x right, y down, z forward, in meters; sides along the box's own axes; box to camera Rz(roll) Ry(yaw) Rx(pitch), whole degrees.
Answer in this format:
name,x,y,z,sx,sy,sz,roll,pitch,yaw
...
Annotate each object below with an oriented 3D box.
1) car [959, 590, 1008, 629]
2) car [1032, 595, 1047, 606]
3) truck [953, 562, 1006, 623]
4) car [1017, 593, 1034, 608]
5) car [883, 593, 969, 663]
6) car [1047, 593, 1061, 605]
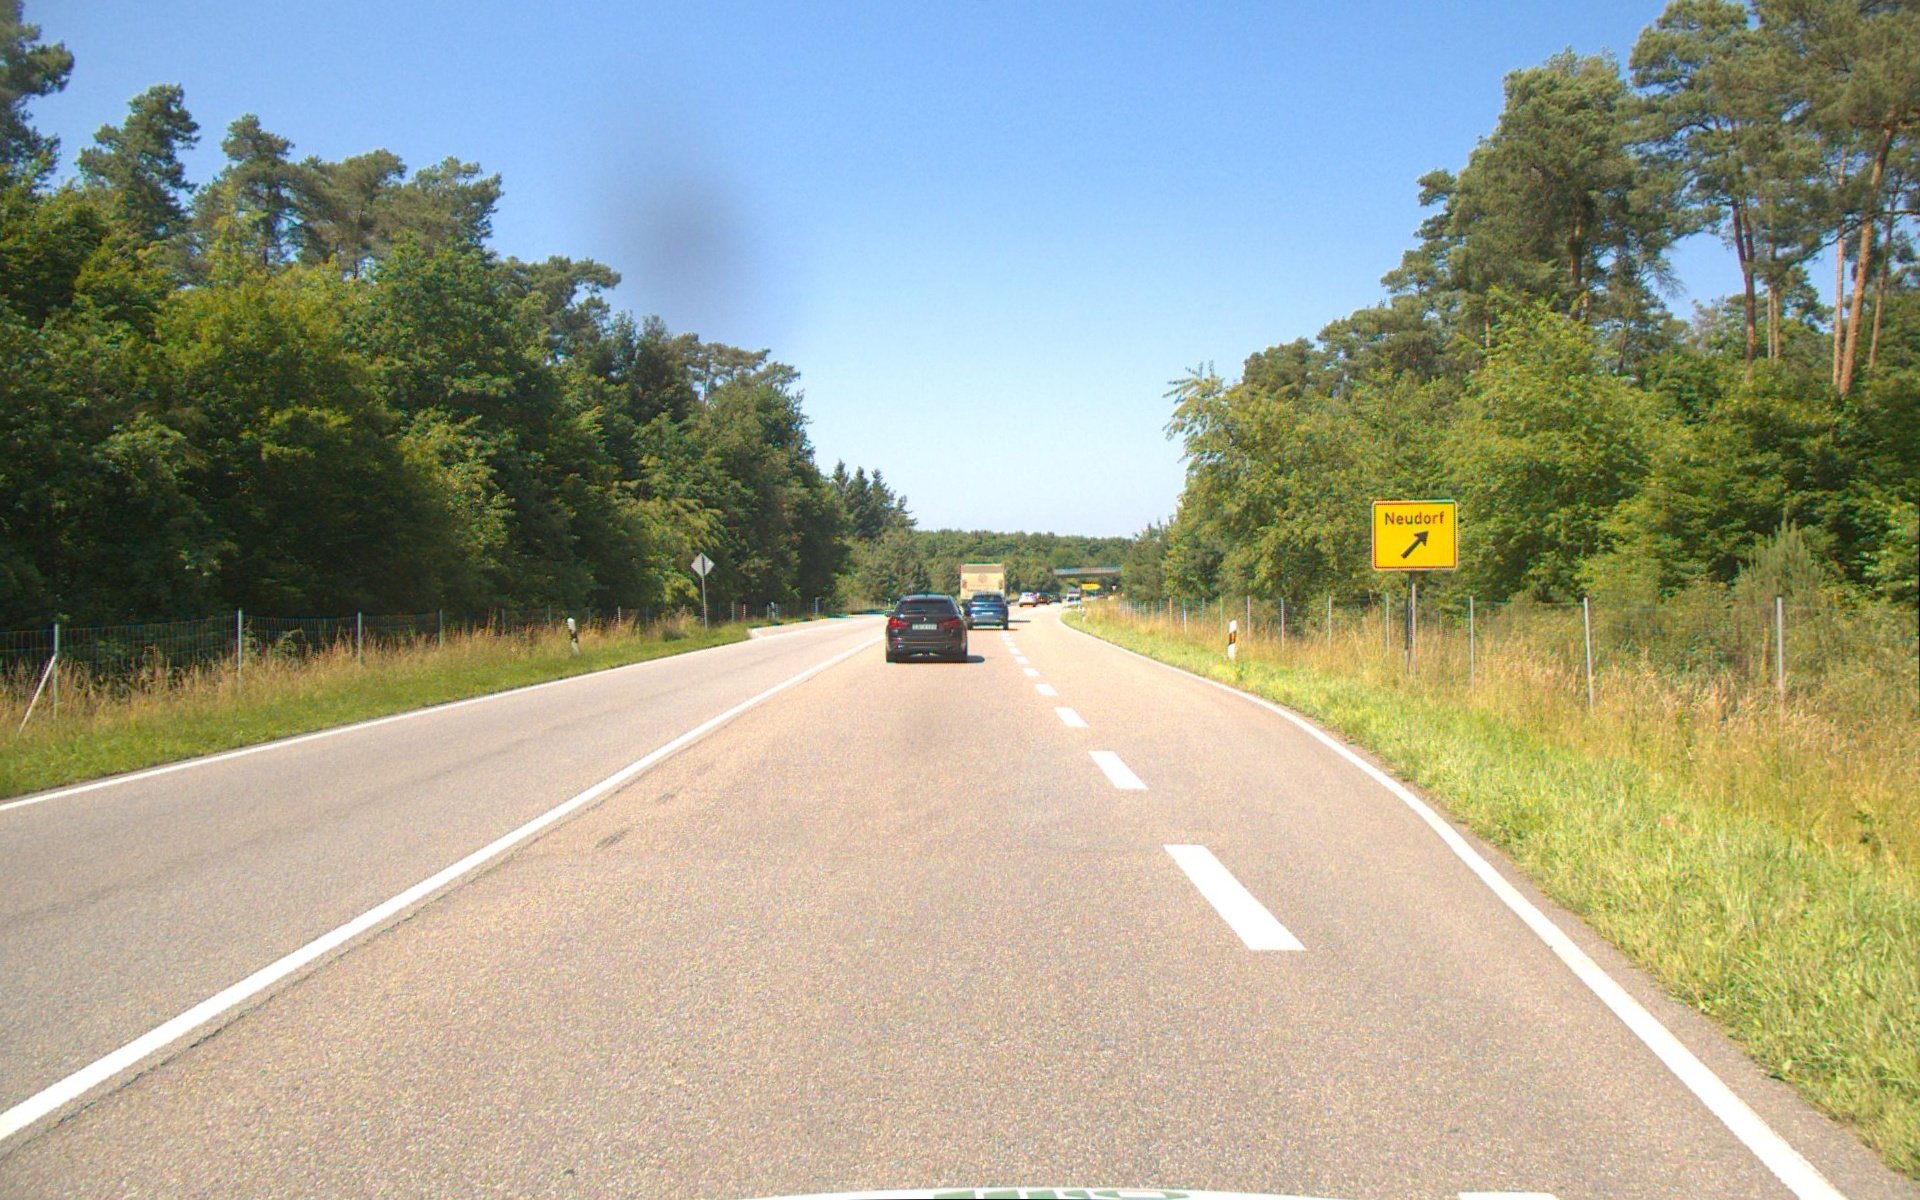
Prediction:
name,x,y,z,sx,sy,sz,roll,pitch,yaw
car,0.993,0.393,71.919,1.908,1.568,3.998,-1,0,-2
car,10.735,0.097,223.276,1.952,1.445,4.001,1,0,3
truck,1.191,-0.460,96.272,2.904,3.447,6.440,0,0,2
car,7.645,0.039,194.095,1.825,1.633,4.000,-2,0,0
car,-0.833,0.599,38.026,1.784,1.496,3.997,-1,0,-4
car,14.222,-0.163,249.866,1.952,1.665,4.002,-1,0,4
